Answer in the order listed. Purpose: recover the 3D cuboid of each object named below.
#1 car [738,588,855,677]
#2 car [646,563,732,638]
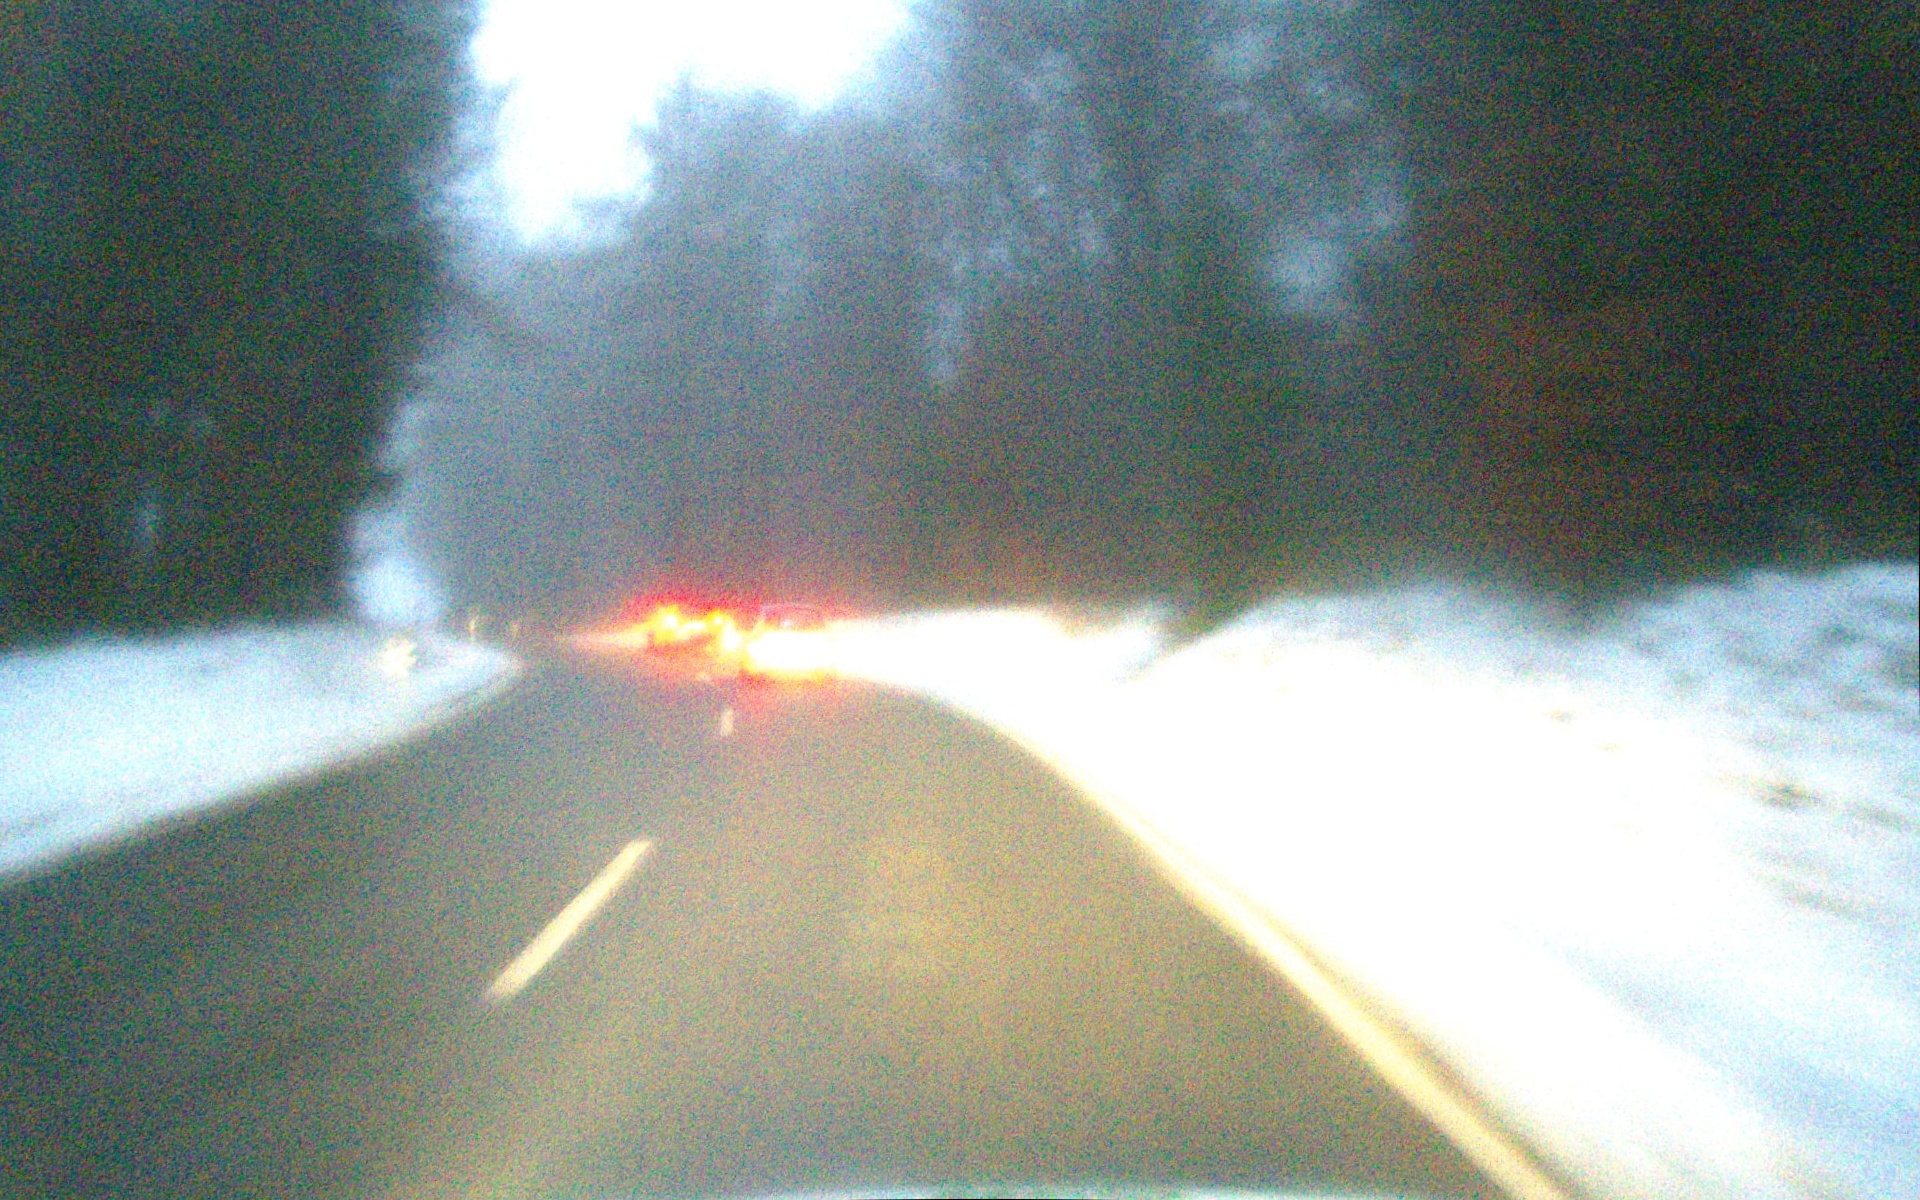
[{"bbox_3d":[-2.967,0.625,30.313,1.908,1.405,3.995,4,-2,-5],"label":"car"},{"bbox_3d":[-7.819,0.061,47.422,1.960,1.814,3.984,6,-3,-14],"label":"car"}]
